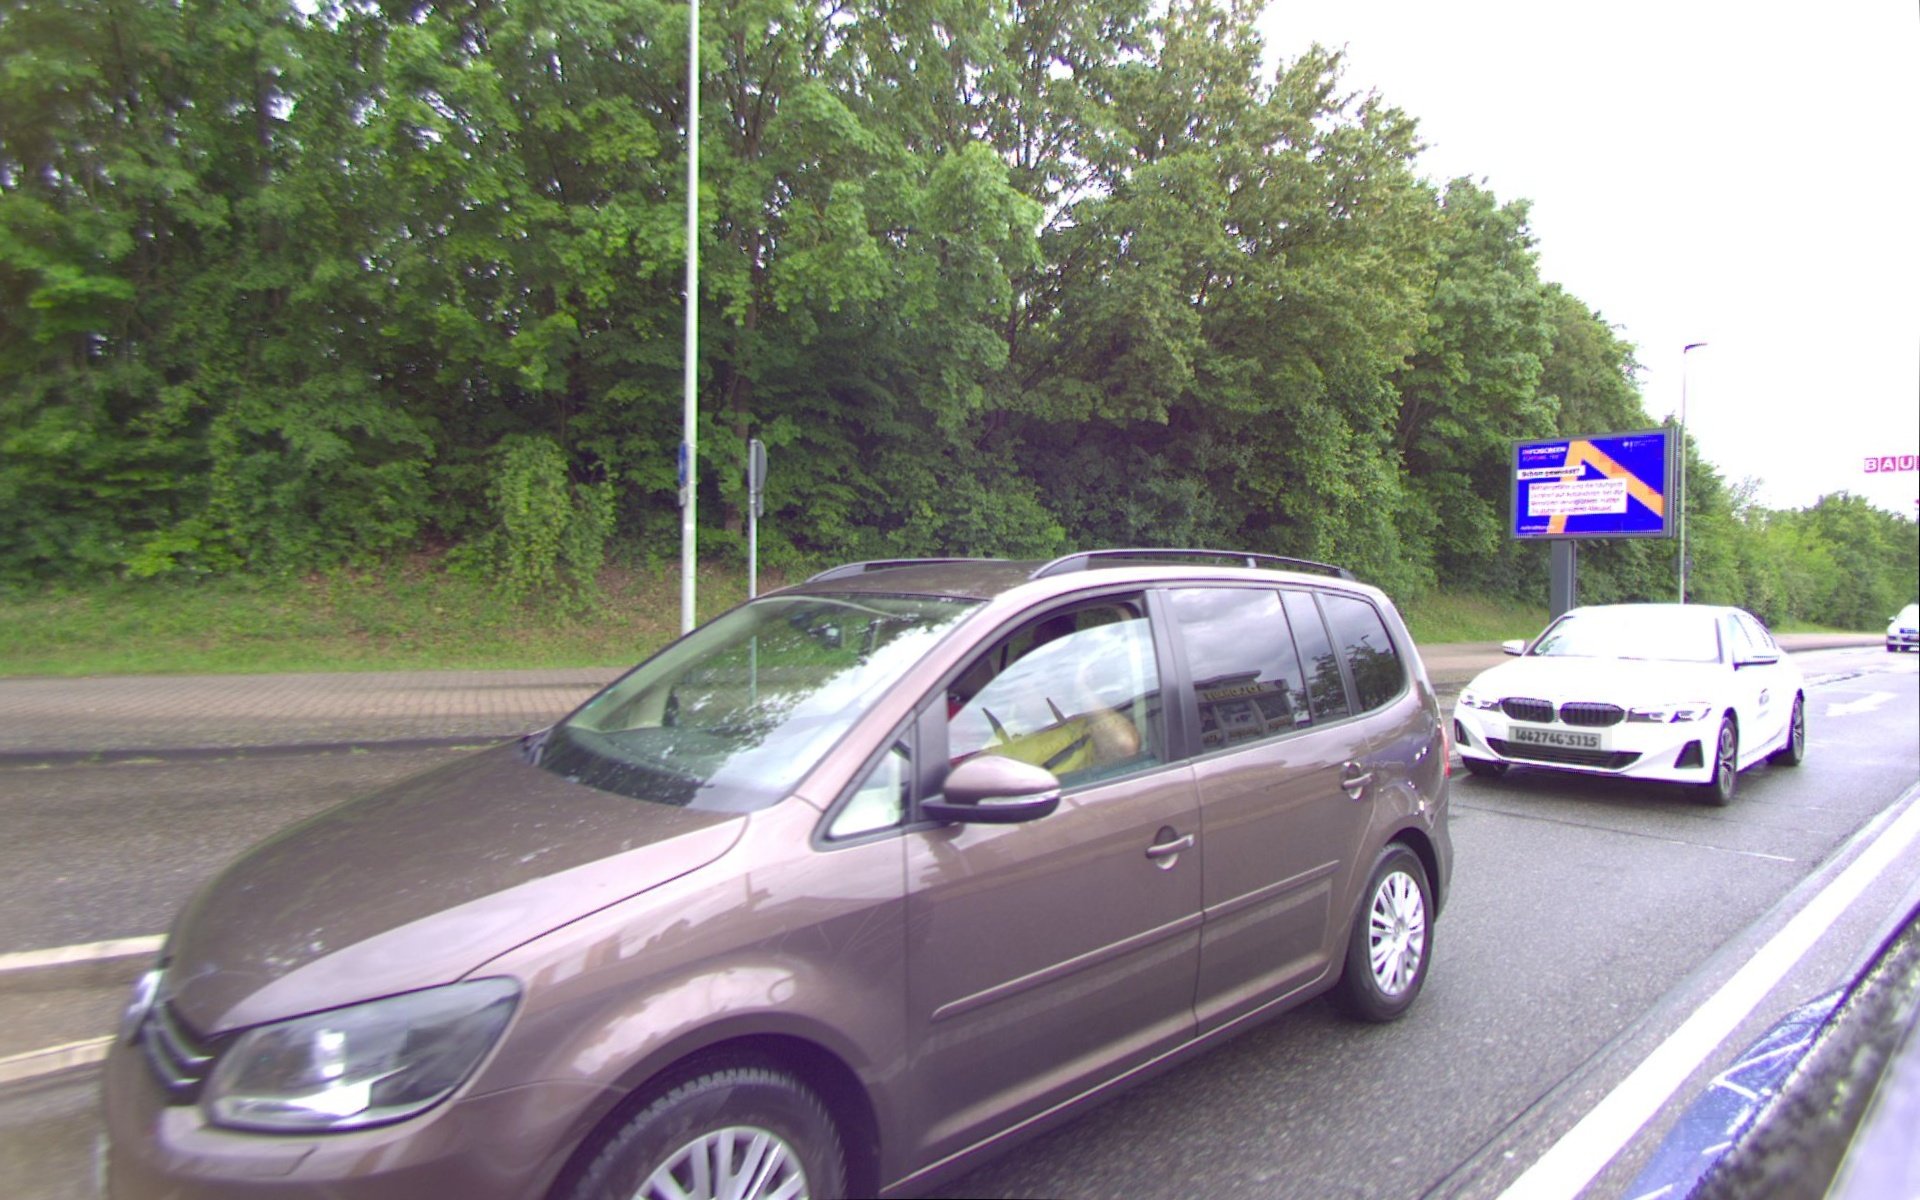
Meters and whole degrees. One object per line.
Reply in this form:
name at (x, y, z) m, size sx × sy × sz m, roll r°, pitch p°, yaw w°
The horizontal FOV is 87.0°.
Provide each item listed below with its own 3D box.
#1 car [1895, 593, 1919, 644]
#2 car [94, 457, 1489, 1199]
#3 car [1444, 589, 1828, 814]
car at (34.494, 0.643, 35.501) m, size 4.241 × 1.749 × 1.997 m, roll 0°, pitch 1°, yaw -41°
car at (-0.090, 0.619, 3.134) m, size 3.910 × 1.629 × 1.750 m, roll -1°, pitch 1°, yaw -41°
car at (6.132, 0.646, 8.927) m, size 4.600 × 1.475 × 1.782 m, roll -1°, pitch 1°, yaw -42°
